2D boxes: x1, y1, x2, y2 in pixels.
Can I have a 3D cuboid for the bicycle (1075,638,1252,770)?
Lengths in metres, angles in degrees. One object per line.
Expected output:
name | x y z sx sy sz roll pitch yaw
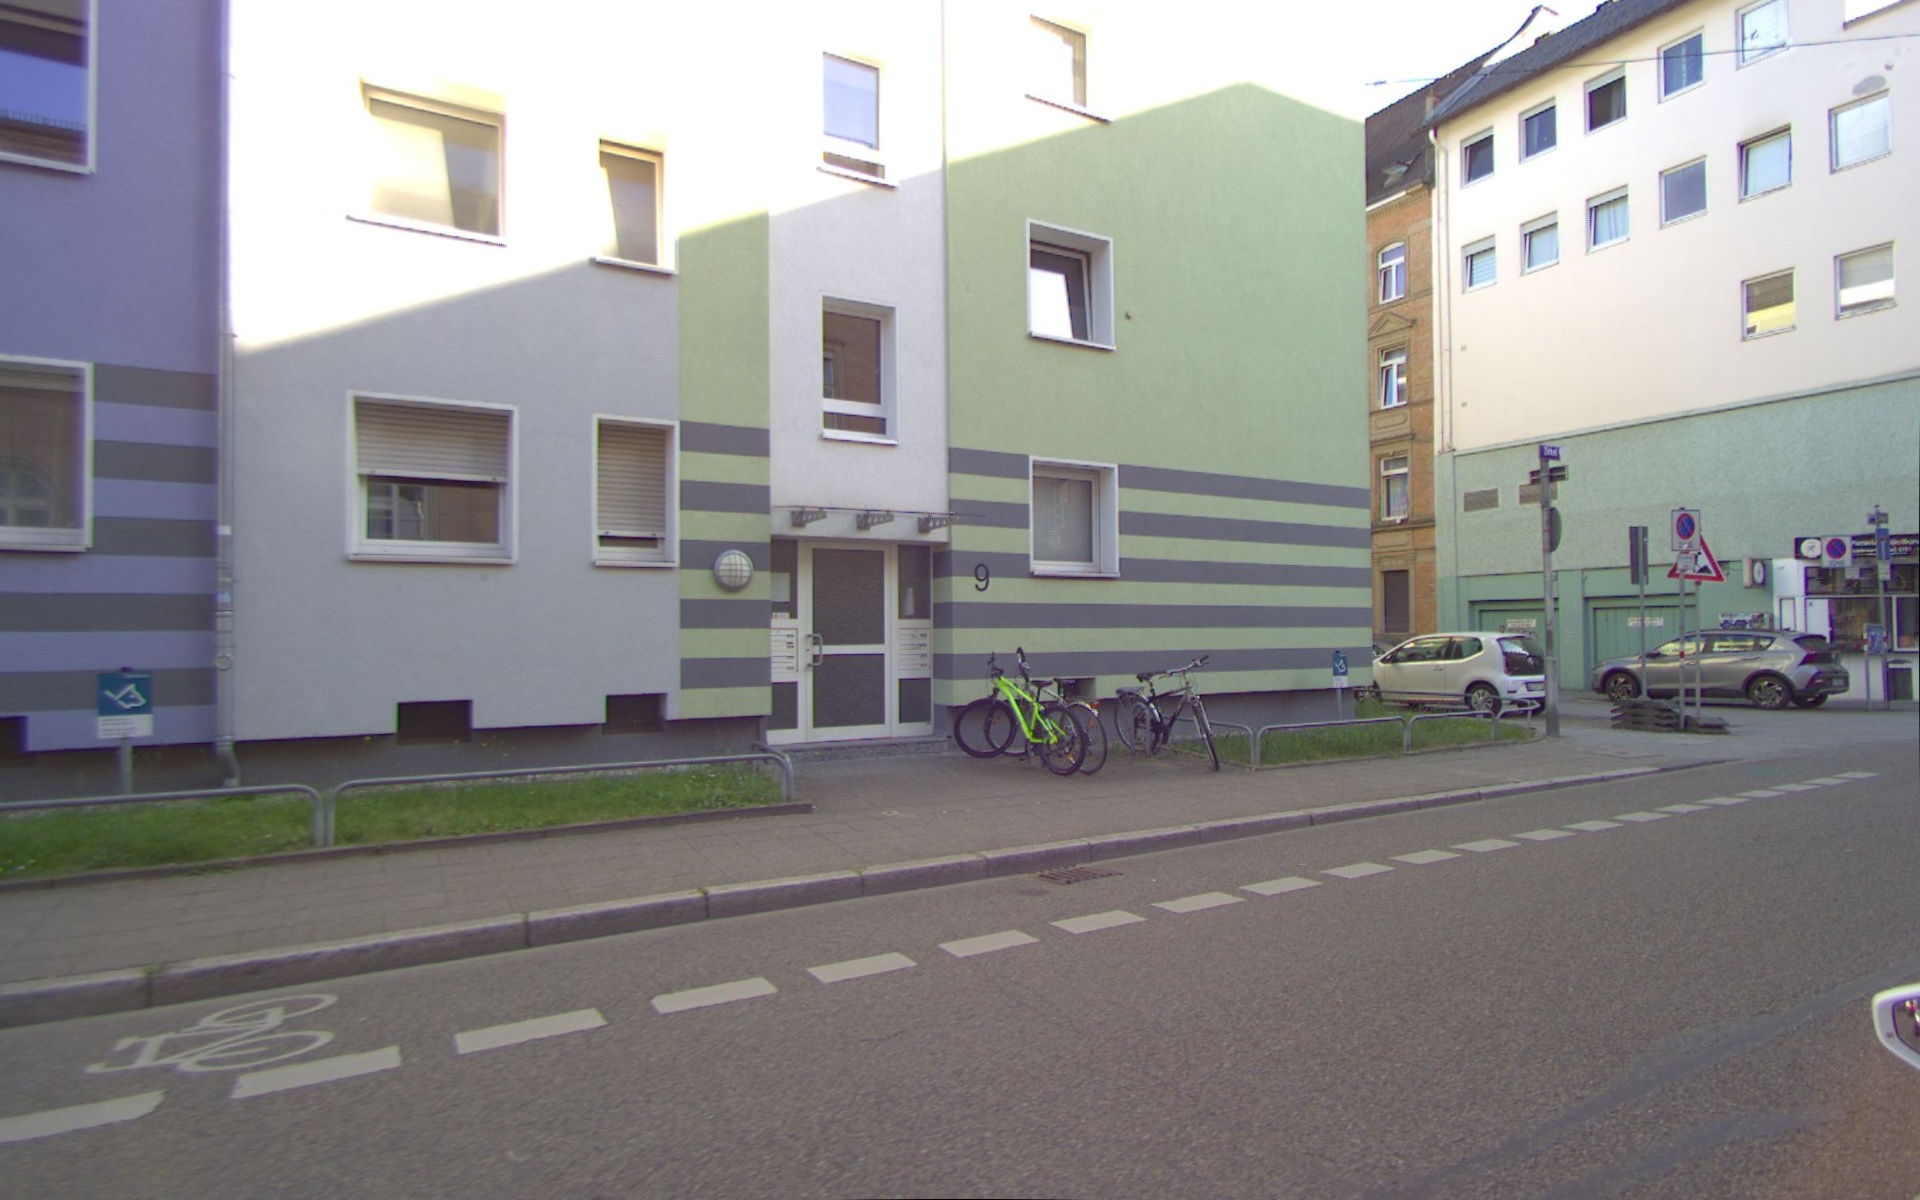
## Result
bicycle | 2.144 1.059 10.827 0.608 1.195 1.914 1 0 -38

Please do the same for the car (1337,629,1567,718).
car | 9.101 1.313 18.835 1.791 1.462 3.487 0 -2 -28

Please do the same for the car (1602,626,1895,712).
car | 15.270 1.292 19.699 1.923 1.462 4.082 0 -2 -28

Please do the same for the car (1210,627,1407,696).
car | 8.625 1.479 25.298 1.974 1.562 4.597 0 -2 -27

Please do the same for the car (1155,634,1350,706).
car | 6.596 1.525 23.137 1.791 1.462 4.339 0 -2 -28

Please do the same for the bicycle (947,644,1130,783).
bicycle | 0.764 1.100 10.315 1.909 1.195 0.609 2 1 45
